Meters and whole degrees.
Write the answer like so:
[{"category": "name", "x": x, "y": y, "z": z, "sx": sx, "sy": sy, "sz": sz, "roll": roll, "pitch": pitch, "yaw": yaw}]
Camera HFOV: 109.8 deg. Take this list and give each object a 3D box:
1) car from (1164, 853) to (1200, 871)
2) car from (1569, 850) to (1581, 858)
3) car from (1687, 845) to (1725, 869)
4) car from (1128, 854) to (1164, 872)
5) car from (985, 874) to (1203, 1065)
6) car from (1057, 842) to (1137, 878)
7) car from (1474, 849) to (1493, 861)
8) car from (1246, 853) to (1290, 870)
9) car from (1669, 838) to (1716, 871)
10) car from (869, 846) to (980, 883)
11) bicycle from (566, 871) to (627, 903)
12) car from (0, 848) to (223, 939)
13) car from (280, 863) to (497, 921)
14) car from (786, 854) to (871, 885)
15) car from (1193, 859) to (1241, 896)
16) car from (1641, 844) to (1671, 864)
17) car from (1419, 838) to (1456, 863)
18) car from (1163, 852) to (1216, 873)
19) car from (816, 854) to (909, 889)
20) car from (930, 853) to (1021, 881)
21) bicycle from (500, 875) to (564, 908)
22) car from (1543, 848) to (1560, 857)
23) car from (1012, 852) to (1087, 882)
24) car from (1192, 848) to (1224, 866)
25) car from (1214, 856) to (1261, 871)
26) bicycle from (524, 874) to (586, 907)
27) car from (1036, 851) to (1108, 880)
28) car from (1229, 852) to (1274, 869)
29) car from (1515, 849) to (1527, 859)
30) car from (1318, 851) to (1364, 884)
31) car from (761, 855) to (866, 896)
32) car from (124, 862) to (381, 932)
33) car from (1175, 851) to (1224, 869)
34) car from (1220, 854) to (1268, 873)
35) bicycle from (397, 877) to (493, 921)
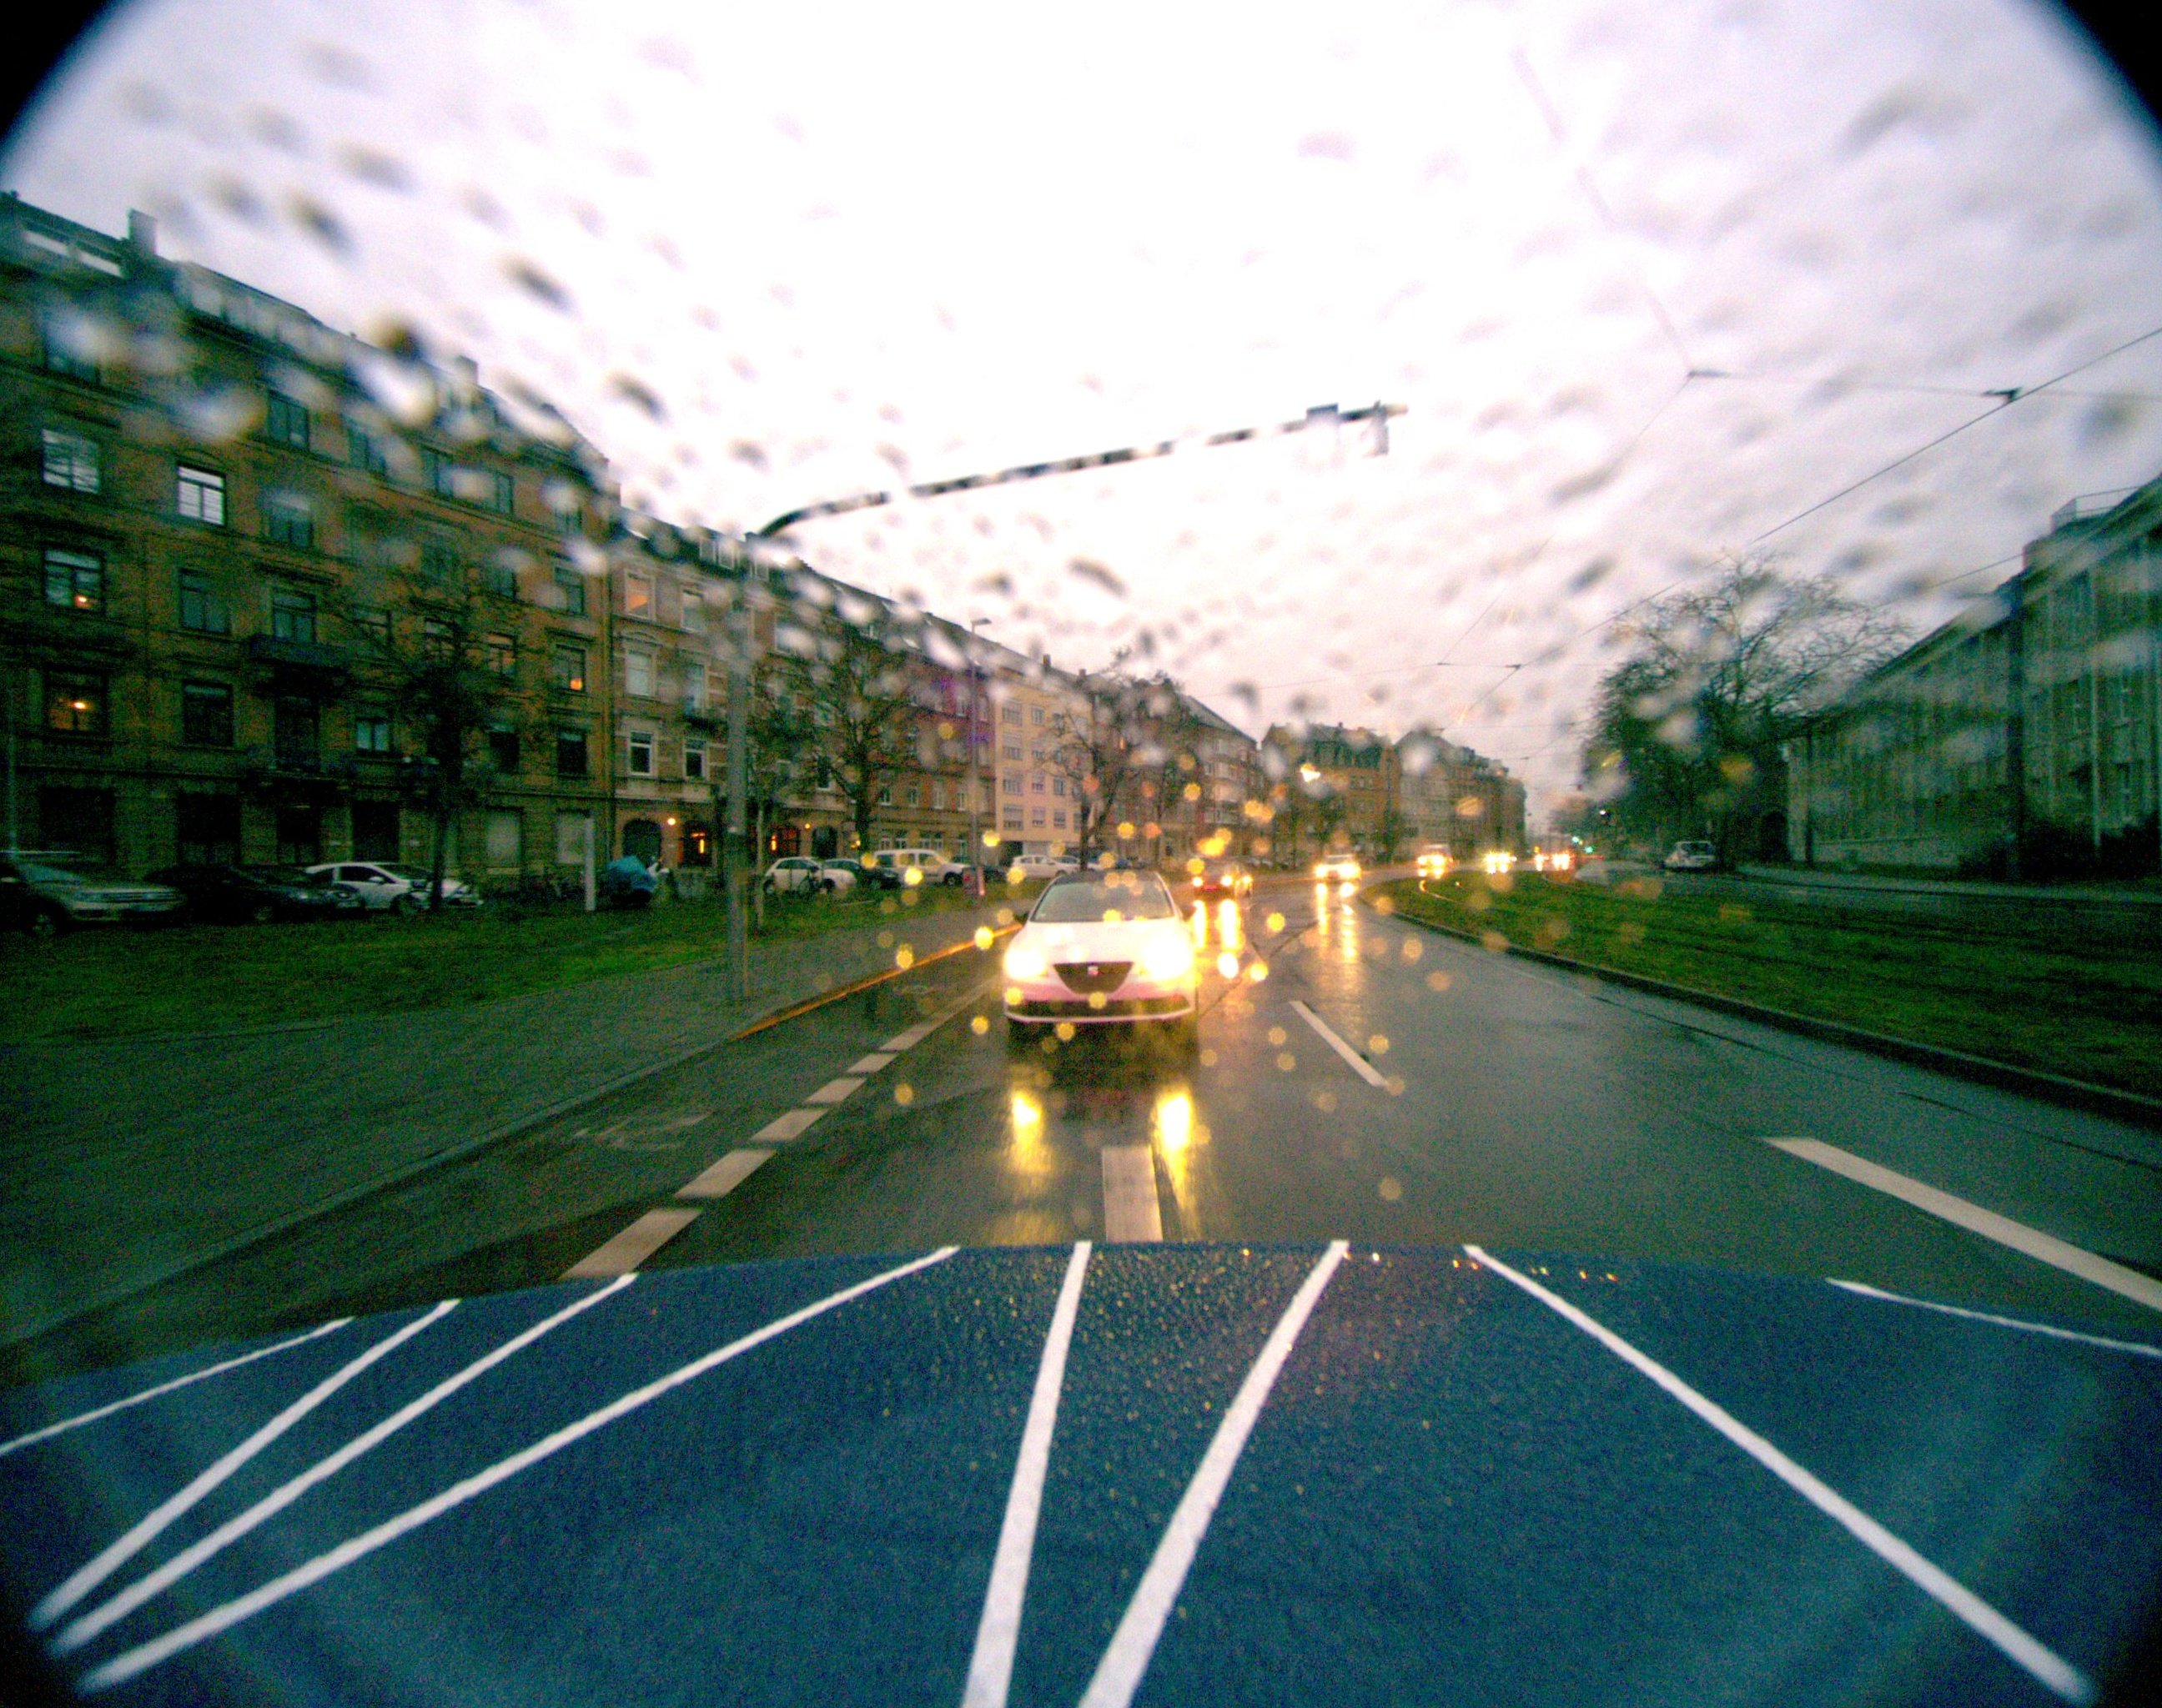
[{"category": "car", "x": 9.888, "y": 0.793, "z": 73.983, "sx": 1.690, "sy": 1.534, "sz": 4.008, "roll": -3, "pitch": 0, "yaw": 37}, {"category": "car", "x": 126.522, "y": 0.017, "z": 194.580, "sx": 1.948, "sy": 1.804, "sz": 4.008, "roll": -1, "pitch": 0, "yaw": 42}, {"category": "car", "x": 38.706, "y": 0.180, "z": 47.094, "sx": 1.557, "sy": 1.420, "sz": 2.960, "roll": -1, "pitch": 1, "yaw": 35}, {"category": "car", "x": 5.913, "y": 0.829, "z": 68.719, "sx": 1.470, "sy": 1.534, "sz": 3.880, "roll": 0, "pitch": 0, "yaw": 37}, {"category": "car", "x": 0.258, "y": 0.996, "z": 8.033, "sx": 1.714, "sy": 1.404, "sz": 3.681, "roll": -3, "pitch": 0, "yaw": 5}, {"category": "car", "x": 0.955, "y": 0.359, "z": 46.743, "sx": 4.720, "sy": 1.971, "sz": 1.799, "roll": -2, "pitch": 0, "yaw": -3}, {"category": "car", "x": 60.001, "y": 0.211, "z": 113.237, "sx": 1.646, "sy": 1.739, "sz": 3.562, "roll": 0, "pitch": 0, "yaw": 42}, {"category": "car", "x": 17.231, "y": 0.687, "z": 70.174, "sx": 3.761, "sy": 1.346, "sz": 1.603, "roll": -3, "pitch": 0, "yaw": 11}, {"category": "car", "x": 41.094, "y": 0.025, "z": 51.138, "sx": 1.995, "sy": 2.002, "sz": 4.518, "roll": -3, "pitch": 0, "yaw": 34}, {"category": "car", "x": -7.091, "y": 0.464, "z": 34.676, "sx": 4.659, "sy": 1.583, "sz": 1.777, "roll": 1, "pitch": 1, "yaw": 3}, {"category": "bicycle", "x": -15.510, "y": 1.038, "z": 24.321, "sx": 2.165, "sy": 0.960, "sz": 0.627, "roll": 0, "pitch": 1, "yaw": 27}, {"category": "car", "x": -19.709, "y": 0.705, "z": 14.751, "sx": 3.996, "sy": 1.627, "sz": 1.944, "roll": 0, "pitch": 1, "yaw": 3}, {"category": "car", "x": -17.368, "y": 0.931, "z": 19.195, "sx": 3.856, "sy": 1.329, "sz": 1.698, "roll": -1, "pitch": 0, "yaw": -2}, {"category": "car", "x": -13.256, "y": 0.790, "z": 40.087, "sx": 1.733, "sy": 1.492, "sz": 4.058, "roll": -3, "pitch": -1, "yaw": 31}, {"category": "car", "x": 5.571, "y": 0.954, "z": 31.451, "sx": 1.589, "sy": 1.418, "sz": 3.134, "roll": -1, "pitch": 0, "yaw": 3}, {"category": "car", "x": 49.044, "y": -0.003, "z": 64.821, "sx": 1.612, "sy": 1.650, "sz": 3.618, "roll": -1, "pitch": 0, "yaw": 30}, {"category": "car", "x": 35.818, "y": -0.382, "z": 76.201, "sx": 2.125, "sy": 2.366, "sz": 5.649, "roll": -3, "pitch": 0, "yaw": 37}, {"category": "car", "x": 8.287, "y": 0.643, "z": 58.199, "sx": 3.870, "sy": 1.397, "sz": 1.695, "roll": -3, "pitch": 0, "yaw": 6}, {"category": "car", "x": -9.245, "y": 0.728, "z": 32.277, "sx": 3.430, "sy": 1.343, "sz": 1.664, "roll": -1, "pitch": 0, "yaw": 1}, {"category": "car", "x": -5.062, "y": 0.643, "z": 36.862, "sx": 4.058, "sy": 1.227, "sz": 1.771, "roll": 1, "pitch": -1, "yaw": 5}, {"category": "bicycle", "x": -16.501, "y": 1.129, "z": 22.826, "sx": 2.165, "sy": 0.960, "sz": 0.627, "roll": -2, "pitch": -2, "yaw": 27}, {"category": "car", "x": 83.680, "y": -0.267, "z": 135.102, "sx": 1.892, "sy": 1.405, "sz": 3.955, "roll": -1, "pitch": 0, "yaw": 40}, {"category": "car", "x": -1.705, "y": 0.718, "z": 41.892, "sx": 3.770, "sy": 1.424, "sz": 1.762, "roll": -3, "pitch": 0, "yaw": 8}, {"category": "car", "x": 13.153, "y": 0.291, "z": 78.706, "sx": 1.670, "sy": 1.693, "sz": 3.472, "roll": -3, "pitch": 0, "yaw": 39}, {"category": "car", "x": 13.355, "y": 0.805, "z": 65.084, "sx": 3.762, "sy": 1.271, "sz": 1.602, "roll": -1, "pitch": 0, "yaw": 4}, {"category": "bicycle", "x": -16.233, "y": 1.137, "z": 23.431, "sx": 2.165, "sy": 0.960, "sz": 0.627, "roll": -2, "pitch": -2, "yaw": 27}, {"category": "car", "x": -0.536, "y": 0.669, "z": 44.062, "sx": 3.998, "sy": 1.406, "sz": 1.641, "roll": -3, "pitch": 0, "yaw": -3}, {"category": "car", "x": 15.165, "y": 0.557, "z": 67.646, "sx": 3.761, "sy": 1.346, "sz": 1.603, "roll": -3, "pitch": 0, "yaw": 11}, {"category": "car", "x": 74.850, "y": -0.056, "z": 129.176, "sx": 1.719, "sy": 1.608, "sz": 3.946, "roll": -1, "pitch": 0, "yaw": 32}, {"category": "car", "x": 15.051, "y": 0.748, "z": 43.827, "sx": 1.671, "sy": 1.650, "sz": 4.155, "roll": -3, "pitch": 0, "yaw": 30}, {"category": "car", "x": -10.421, "y": 0.823, "z": 29.724, "sx": 3.463, "sy": 1.434, "sz": 1.615, "roll": -2, "pitch": 0, "yaw": 6}, {"category": "car", "x": -18.198, "y": 0.911, "z": 16.828, "sx": 3.742, "sy": 1.346, "sz": 1.677, "roll": -2, "pitch": -1, "yaw": -2}, {"category": "car", "x": 9.503, "y": 0.482, "z": 60.849, "sx": 3.760, "sy": 1.325, "sz": 1.603, "roll": -1, "pitch": 1, "yaw": 11}, {"category": "car", "x": 13.398, "y": 0.788, "z": 62.492, "sx": 3.761, "sy": 1.324, "sz": 1.603, "roll": -3, "pitch": 0, "yaw": 10}, {"category": "bicycle", "x": -14.702, "y": 1.020, "z": 17.620, "sx": 1.655, "sy": 0.931, "sz": 0.513, "roll": 0, "pitch": 0, "yaw": -35}]
